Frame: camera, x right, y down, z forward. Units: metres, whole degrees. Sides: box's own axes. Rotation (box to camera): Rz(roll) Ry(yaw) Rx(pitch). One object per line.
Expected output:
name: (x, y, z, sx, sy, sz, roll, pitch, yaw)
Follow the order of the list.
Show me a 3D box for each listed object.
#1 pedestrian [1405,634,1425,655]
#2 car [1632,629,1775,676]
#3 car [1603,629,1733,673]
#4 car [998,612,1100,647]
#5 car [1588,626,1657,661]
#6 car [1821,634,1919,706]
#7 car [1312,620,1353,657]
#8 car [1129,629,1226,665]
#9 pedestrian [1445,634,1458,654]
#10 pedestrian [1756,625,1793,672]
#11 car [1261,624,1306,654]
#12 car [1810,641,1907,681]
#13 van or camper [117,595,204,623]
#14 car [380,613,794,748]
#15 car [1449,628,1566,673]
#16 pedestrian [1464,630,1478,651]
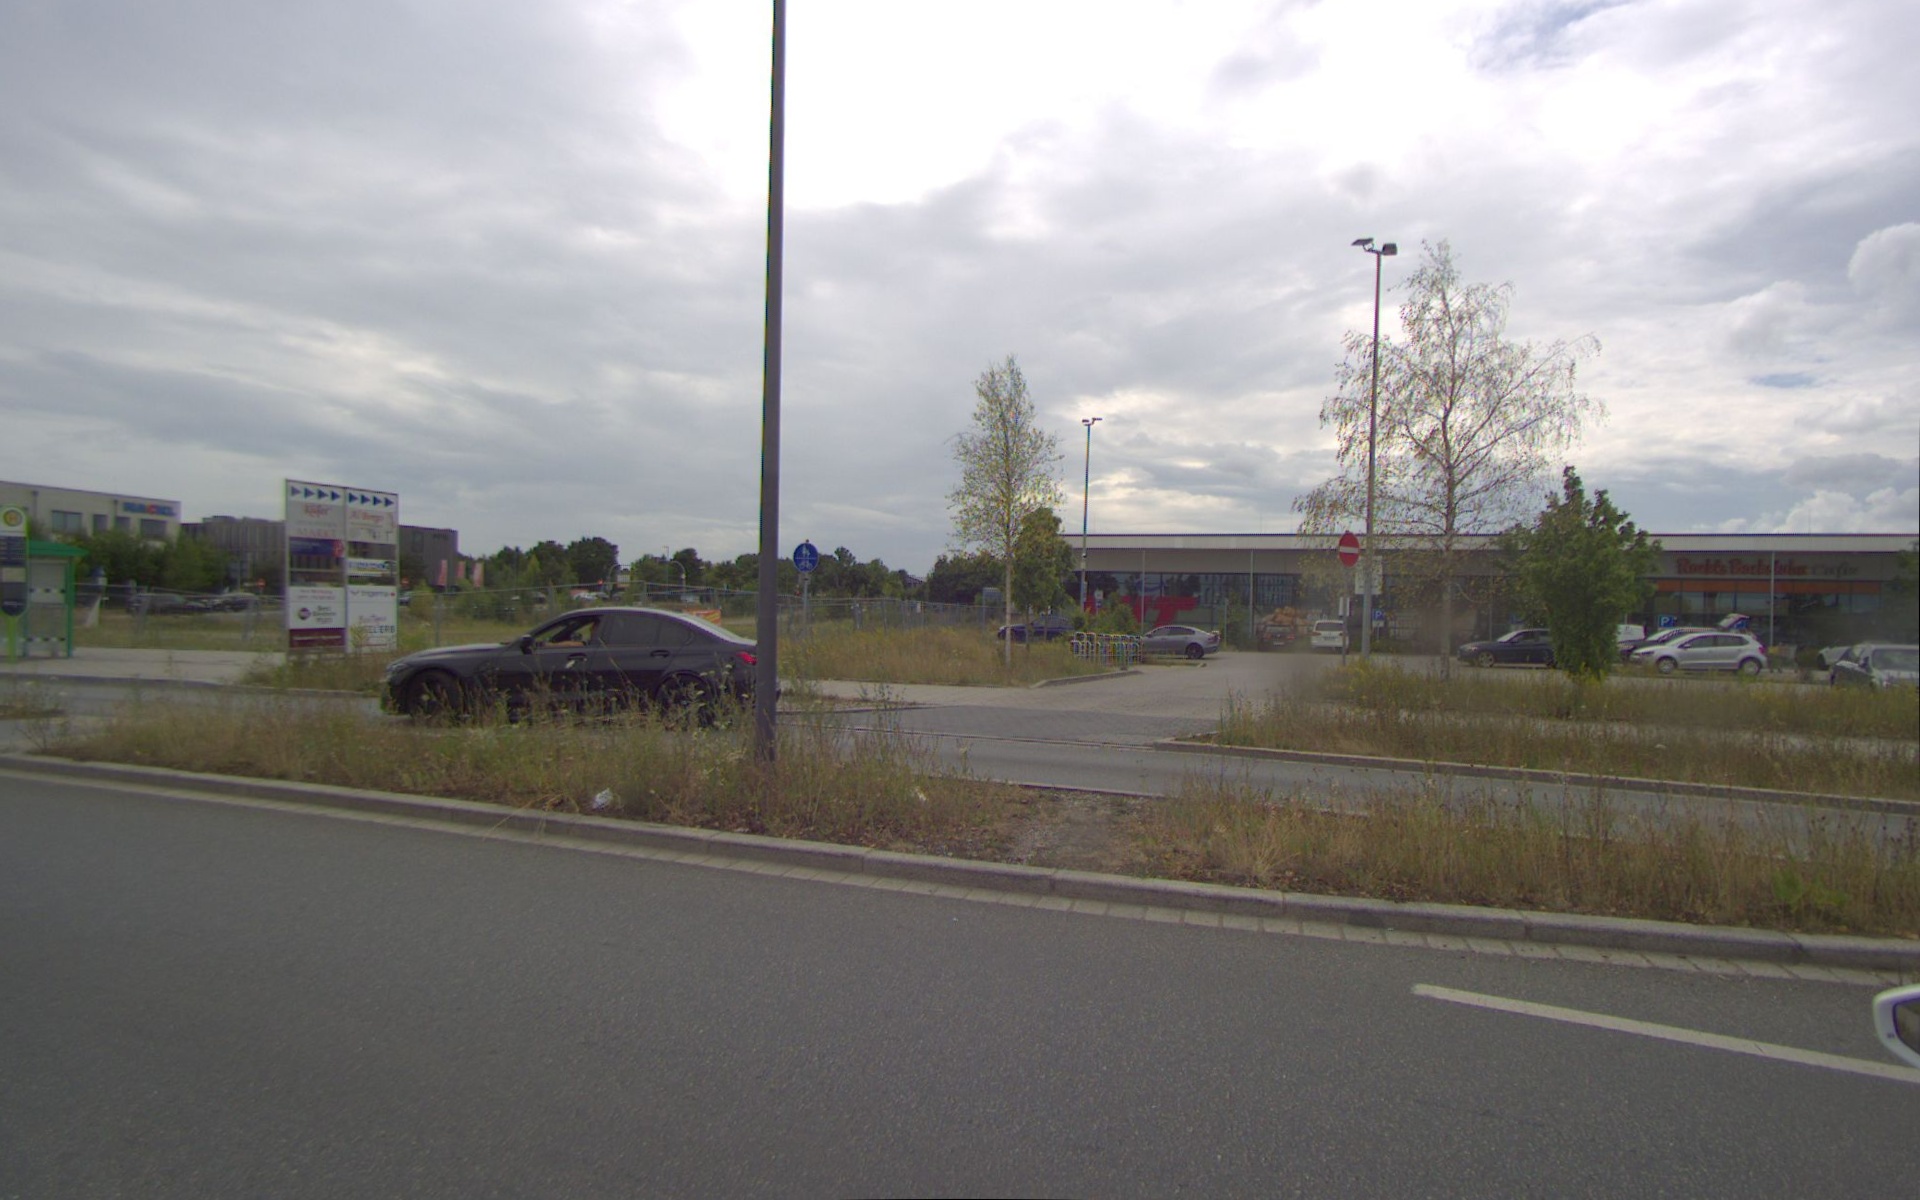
pedestrian: (26.661, 2.593, 58.914, 0.954, 1.170, 1.133, 1, 0, 19)
car: (26.014, 1.821, 35.296, 3.685, 1.473, 1.668, 1, 0, 21)
car: (26.821, 1.915, 38.188, 3.685, 1.473, 1.668, 1, 0, 21)
car: (4.585, 1.514, 51.691, 4.923, 1.578, 2.001, 2, -1, 16)
car: (31.271, 2.034, 47.519, 1.961, 1.528, 3.999, 1, -1, 22)
car: (20.426, 1.482, 21.624, 1.958, 1.402, 4.144, 1, -1, 28)
car: (19.219, 1.945, 51.711, 1.795, 1.723, 4.231, 1, 0, 23)
car: (9.488, 2.004, 43.732, 3.920, 1.370, 2.001, 2, -1, 18)
pedestrian: (28.249, 2.535, 57.687, 0.566, 1.139, 0.562, 1, 0, 17)
pedestrian: (29.790, 1.755, 36.746, 0.809, 1.653, 0.898, 1, -1, 25)
car: (16.959, 2.003, 52.551, 1.876, 1.463, 3.998, 1, -1, 23)
car: (39.663, 2.672, 44.471, 1.961, 1.528, 3.999, 1, 0, 22)
van or camper: (-55.206, 0.662, 69.510, 1.959, 1.772, 4.575, 2, -1, 8)
car: (-4.370, 0.937, 12.463, 4.528, 1.465, 1.782, 1, 0, -11)
car: (20.208, 1.842, 37.217, 3.547, 1.473, 1.668, 1, 0, 20)
pedestrian: (28.787, 2.264, 56.572, 0.566, 1.139, 0.562, 1, 0, 17)
